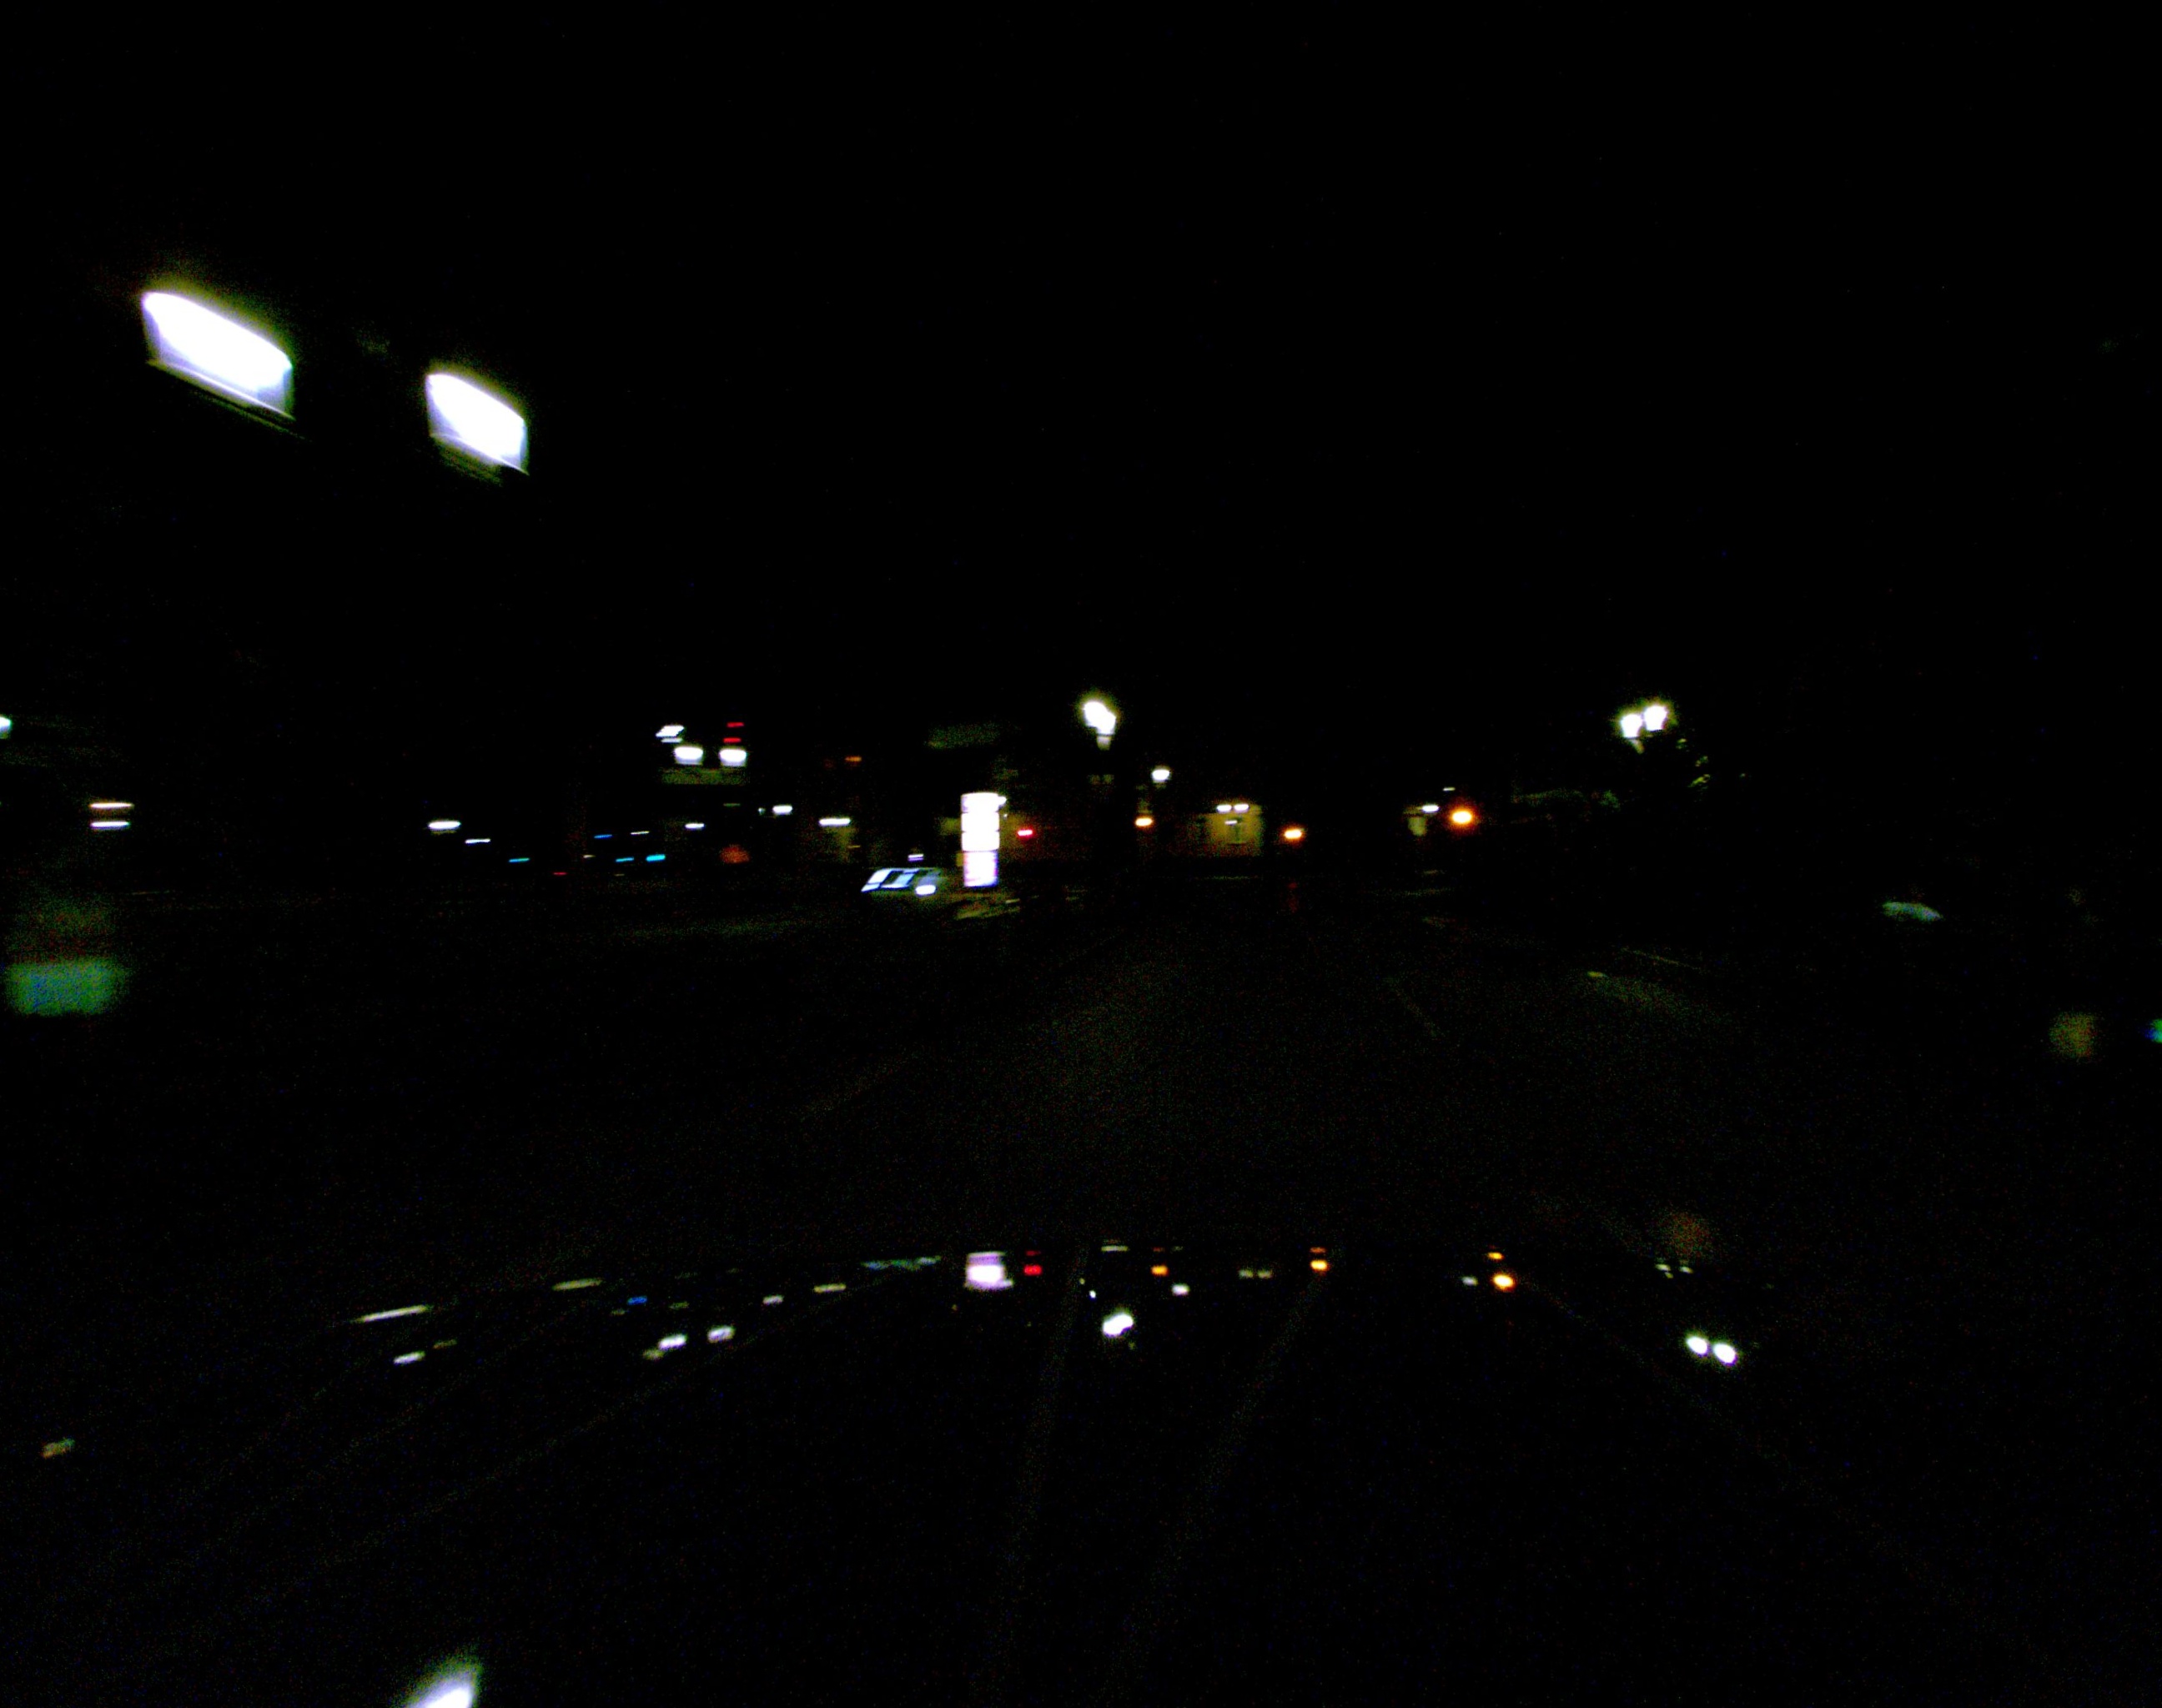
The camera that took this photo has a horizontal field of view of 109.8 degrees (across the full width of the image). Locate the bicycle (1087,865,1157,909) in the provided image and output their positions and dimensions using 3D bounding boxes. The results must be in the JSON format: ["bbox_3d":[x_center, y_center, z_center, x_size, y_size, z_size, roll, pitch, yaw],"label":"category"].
[{"bbox_3d":[1.114,0.884,20.444,1.791,1.128,0.630,-1,1,11],"label":"bicycle"}]

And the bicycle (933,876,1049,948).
[{"bbox_3d":[-1.517,0.967,12.889,1.785,1.144,0.760,-1,1,11],"label":"bicycle"}]

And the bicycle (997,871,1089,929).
[{"bbox_3d":[-0.777,0.931,15.616,1.774,1.144,0.583,-1,1,17],"label":"bicycle"}]

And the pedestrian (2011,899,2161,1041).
[{"bbox_3d":[9.023,1.008,6.799,0.575,1.157,0.678,-1,1,9],"label":"pedestrian"}]

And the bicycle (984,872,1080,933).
[{"bbox_3d":[-0.972,0.946,15.034,1.774,1.144,0.583,-1,1,17],"label":"bicycle"}]

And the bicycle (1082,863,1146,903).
[{"bbox_3d":[0.991,0.865,22.496,1.772,1.134,0.687,-1,1,12],"label":"bicycle"}]

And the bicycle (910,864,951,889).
[{"bbox_3d":[-7.110,1.065,35.986,1.806,1.121,0.648,-2,1,-38],"label":"bicycle"}]

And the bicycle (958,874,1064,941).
[{"bbox_3d":[-1.242,0.945,13.671,1.775,1.144,0.614,-1,1,11],"label":"bicycle"}]

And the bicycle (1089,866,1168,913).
[{"bbox_3d":[1.206,0.886,19.120,1.868,1.128,0.726,-1,1,11],"label":"bicycle"}]

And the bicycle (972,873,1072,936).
[{"bbox_3d":[-1.118,0.945,14.403,1.775,1.144,0.583,-1,1,11],"label":"bicycle"}]

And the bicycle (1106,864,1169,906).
[{"bbox_3d":[1.590,0.857,21.227,1.657,1.128,0.643,-1,1,12],"label":"bicycle"}]

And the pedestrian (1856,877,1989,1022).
[{"bbox_3d":[8.372,0.925,7.586,0.677,1.370,0.577,-1,1,9],"label":"pedestrian"}]

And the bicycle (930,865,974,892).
[{"bbox_3d":[-5.751,1.091,33.876,1.806,1.121,0.648,-2,1,-38],"label":"bicycle"}]

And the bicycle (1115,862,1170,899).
[{"bbox_3d":[1.974,0.848,24.304,1.657,1.134,0.828,-1,1,12],"label":"bicycle"}]
